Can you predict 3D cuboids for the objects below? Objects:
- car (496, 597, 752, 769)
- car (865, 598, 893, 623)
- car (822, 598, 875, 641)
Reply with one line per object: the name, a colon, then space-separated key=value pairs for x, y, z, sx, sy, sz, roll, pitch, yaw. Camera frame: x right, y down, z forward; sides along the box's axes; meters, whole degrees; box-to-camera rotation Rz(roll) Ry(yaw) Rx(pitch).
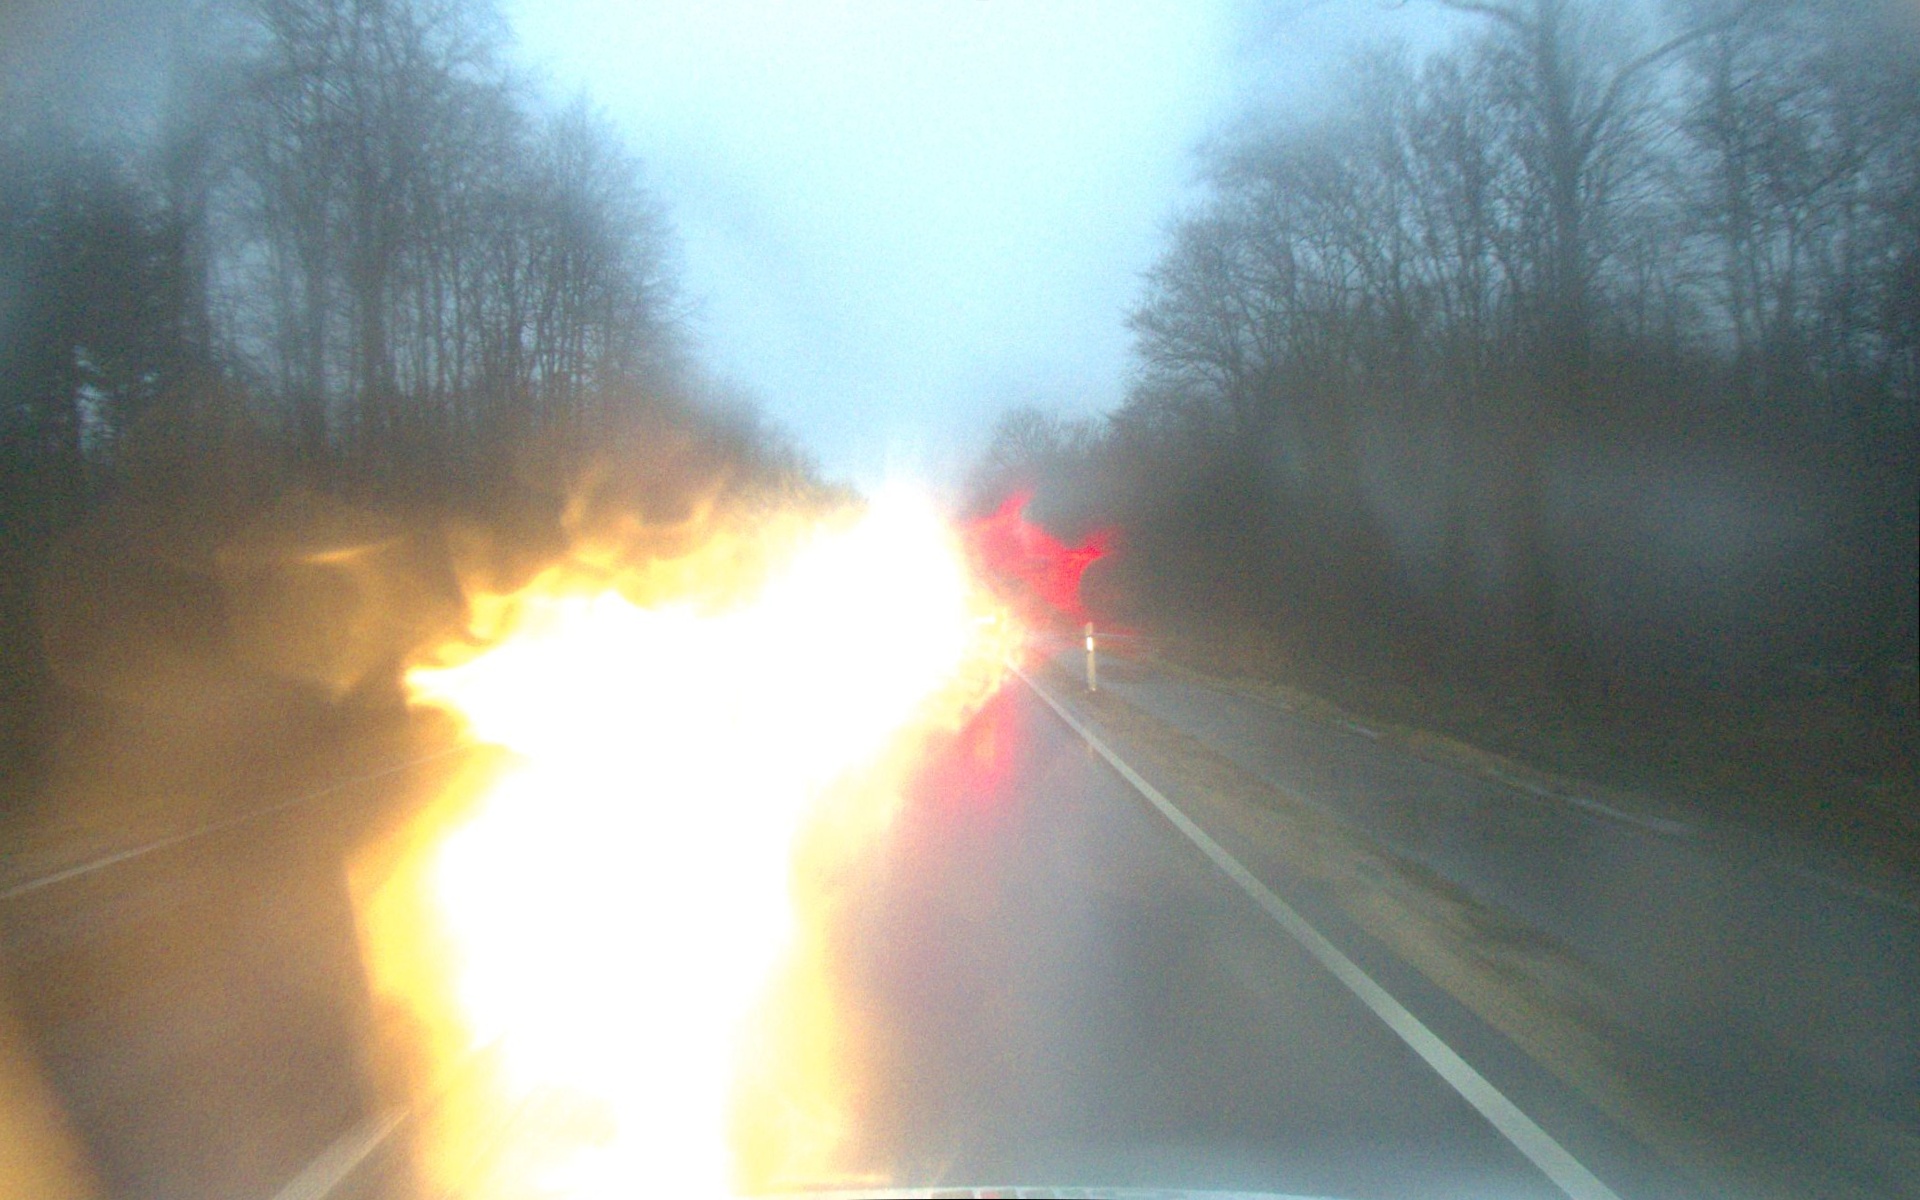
car: x=-3.281 y=0.740 z=16.942 sx=1.762 sy=1.487 sz=4.176 roll=-2 pitch=0 yaw=-1
car: x=-5.397 y=0.681 z=110.068 sx=1.706 sy=1.664 sz=3.999 roll=-1 pitch=0 yaw=-1
car: x=-4.225 y=0.707 z=63.116 sx=1.729 sy=1.483 sz=4.507 roll=-3 pitch=0 yaw=-1
